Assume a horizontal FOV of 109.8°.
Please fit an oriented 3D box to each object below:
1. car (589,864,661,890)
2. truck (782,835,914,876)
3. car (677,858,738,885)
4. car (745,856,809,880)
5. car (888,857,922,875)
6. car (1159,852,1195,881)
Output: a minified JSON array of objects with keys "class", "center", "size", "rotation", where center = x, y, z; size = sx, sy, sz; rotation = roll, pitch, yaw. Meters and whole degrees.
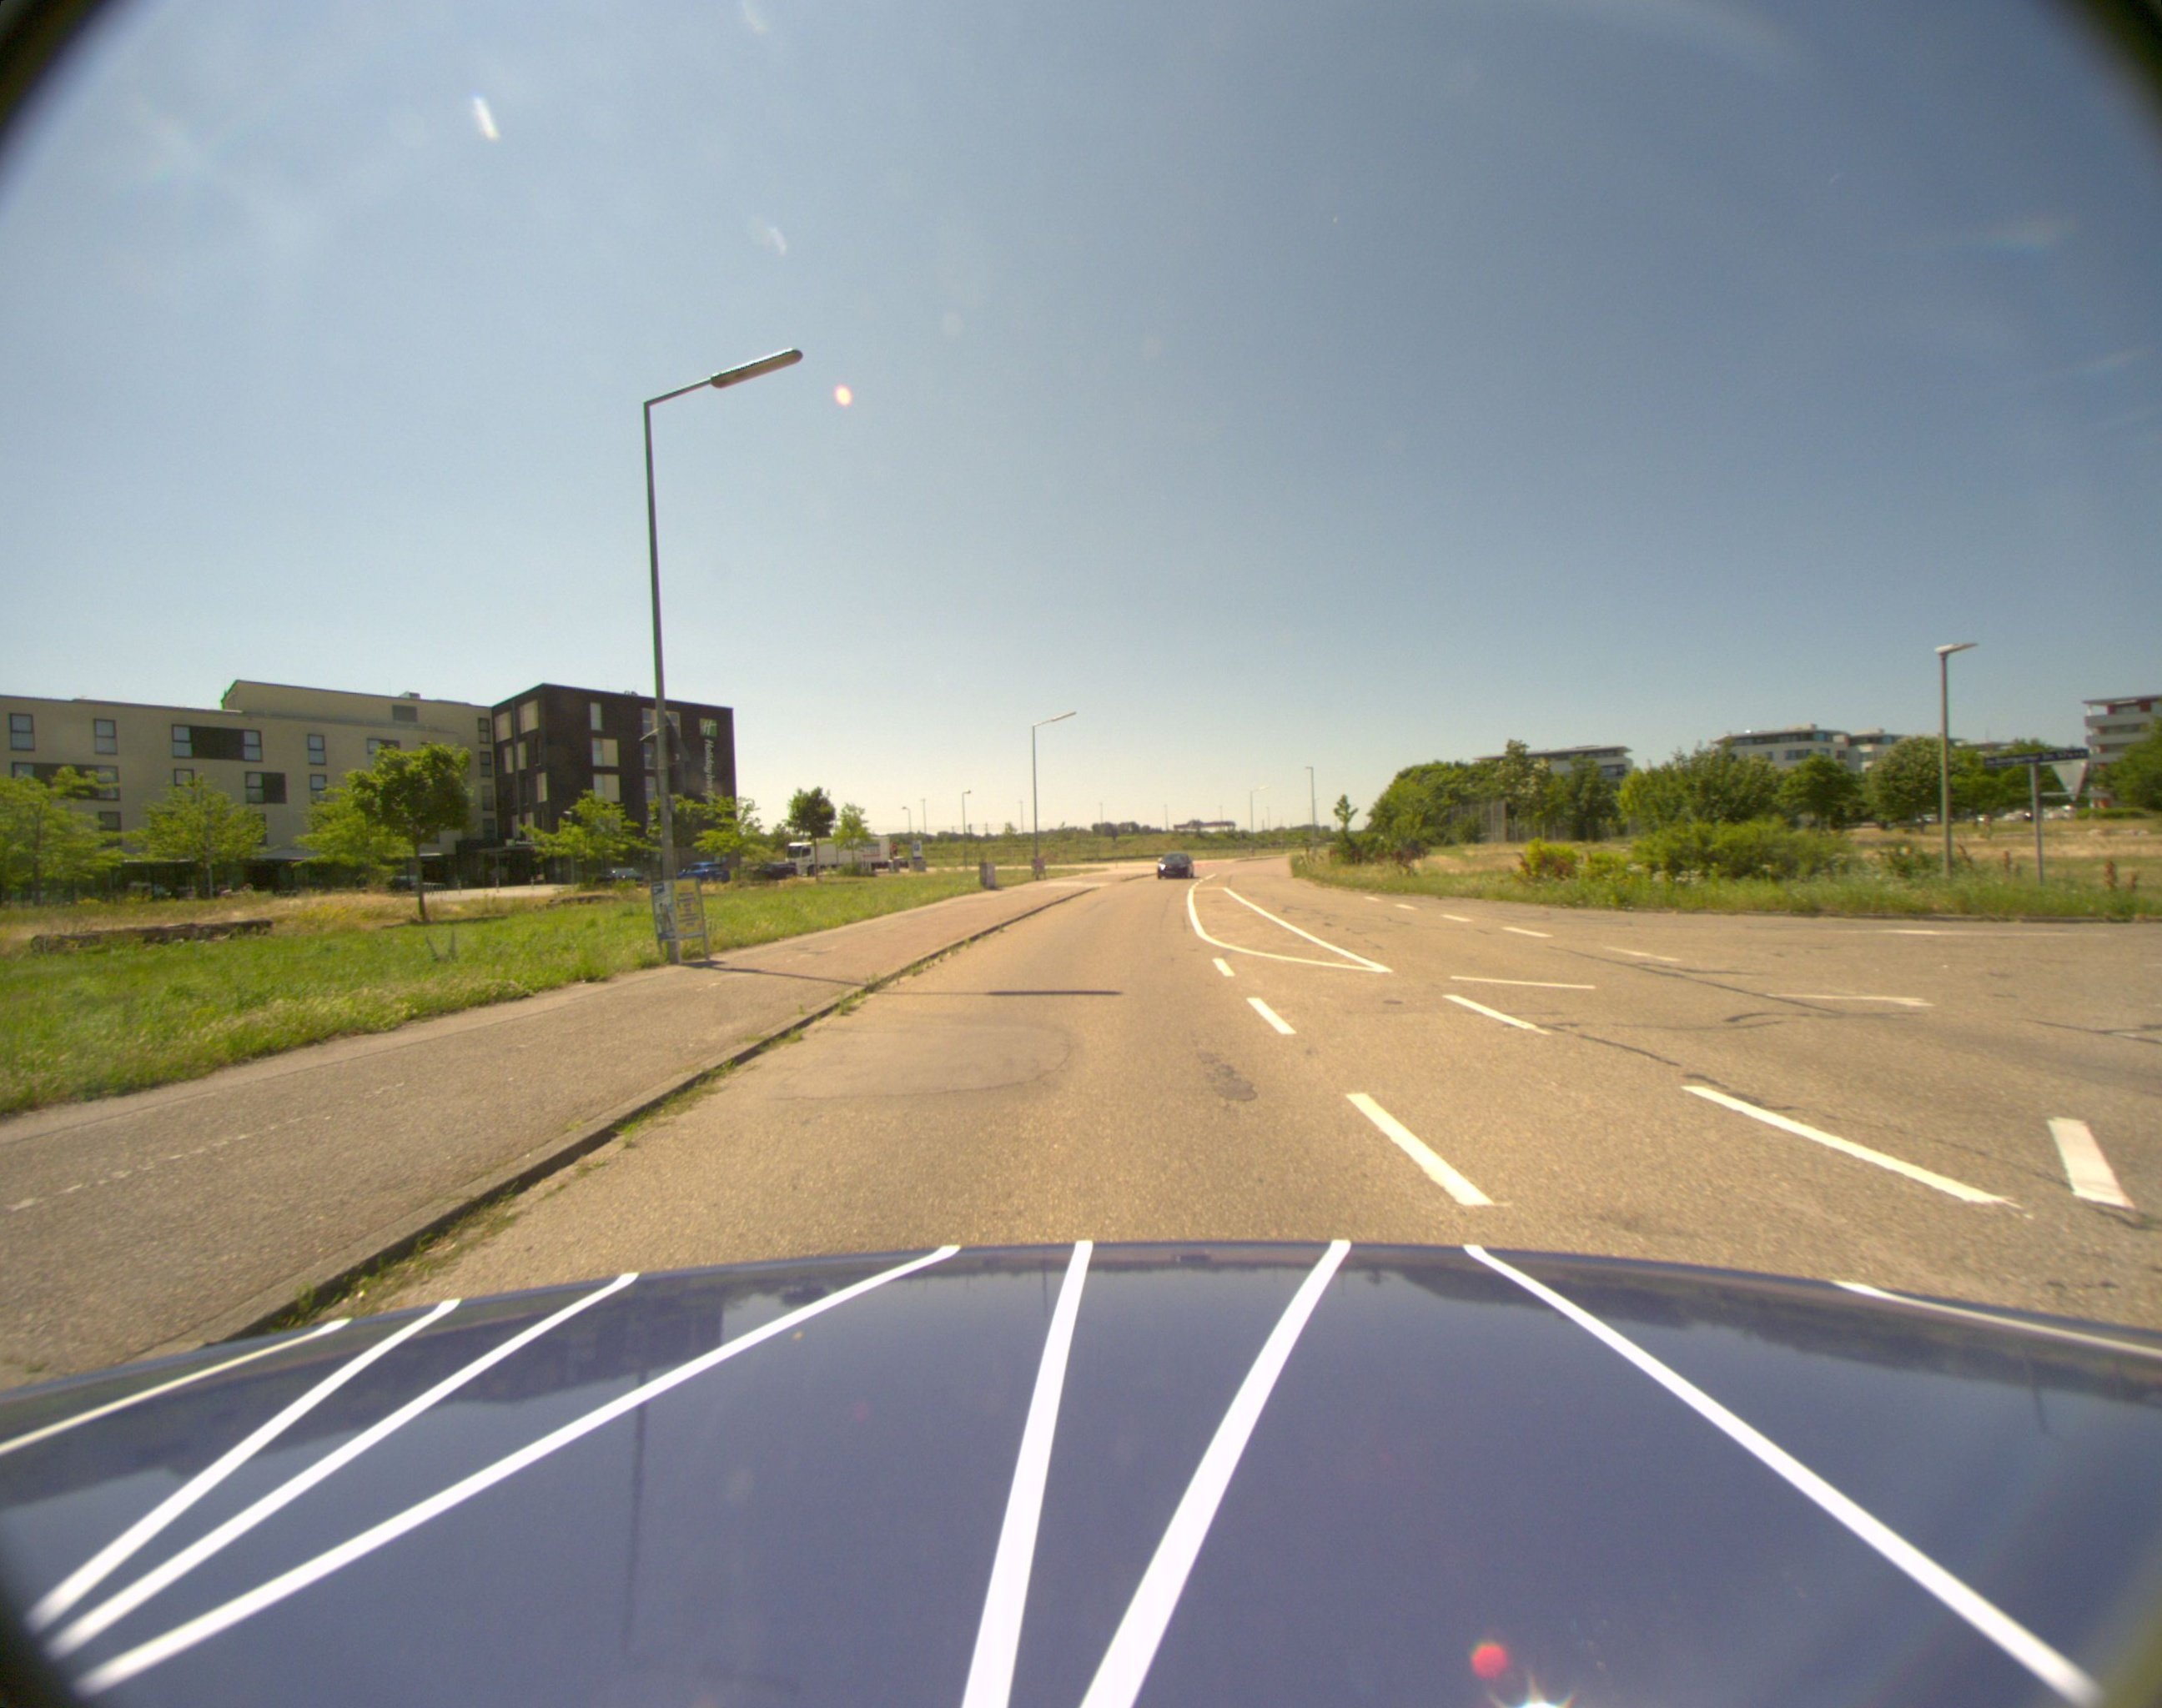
[{"class":"car","center":[-27.614,1.381,45.981],"size":[4.115,1.436,1.966],"rotation":[-2,1,31]},{"class":"truck","center":[-21.596,-0.028,71.423],"size":[3.009,3.442,12.162],"rotation":[1,2,39]},{"class":"car","center":[-24.565,1.168,49.936],"size":[4.060,1.642,1.958],"rotation":[-1,1,37]},{"class":"car","center":[-21.324,0.985,53.314],"size":[4.495,1.553,2.036],"rotation":[-1,1,36]},{"class":"car","center":[-21.147,1.398,91.306],"size":[3.905,2.003,1.883],"rotation":[-1,3,39]},{"class":"car","center":[5.386,0.656,42.369],"size":[1.652,1.458,4.163],"rotation":[-2,0,11]}]
